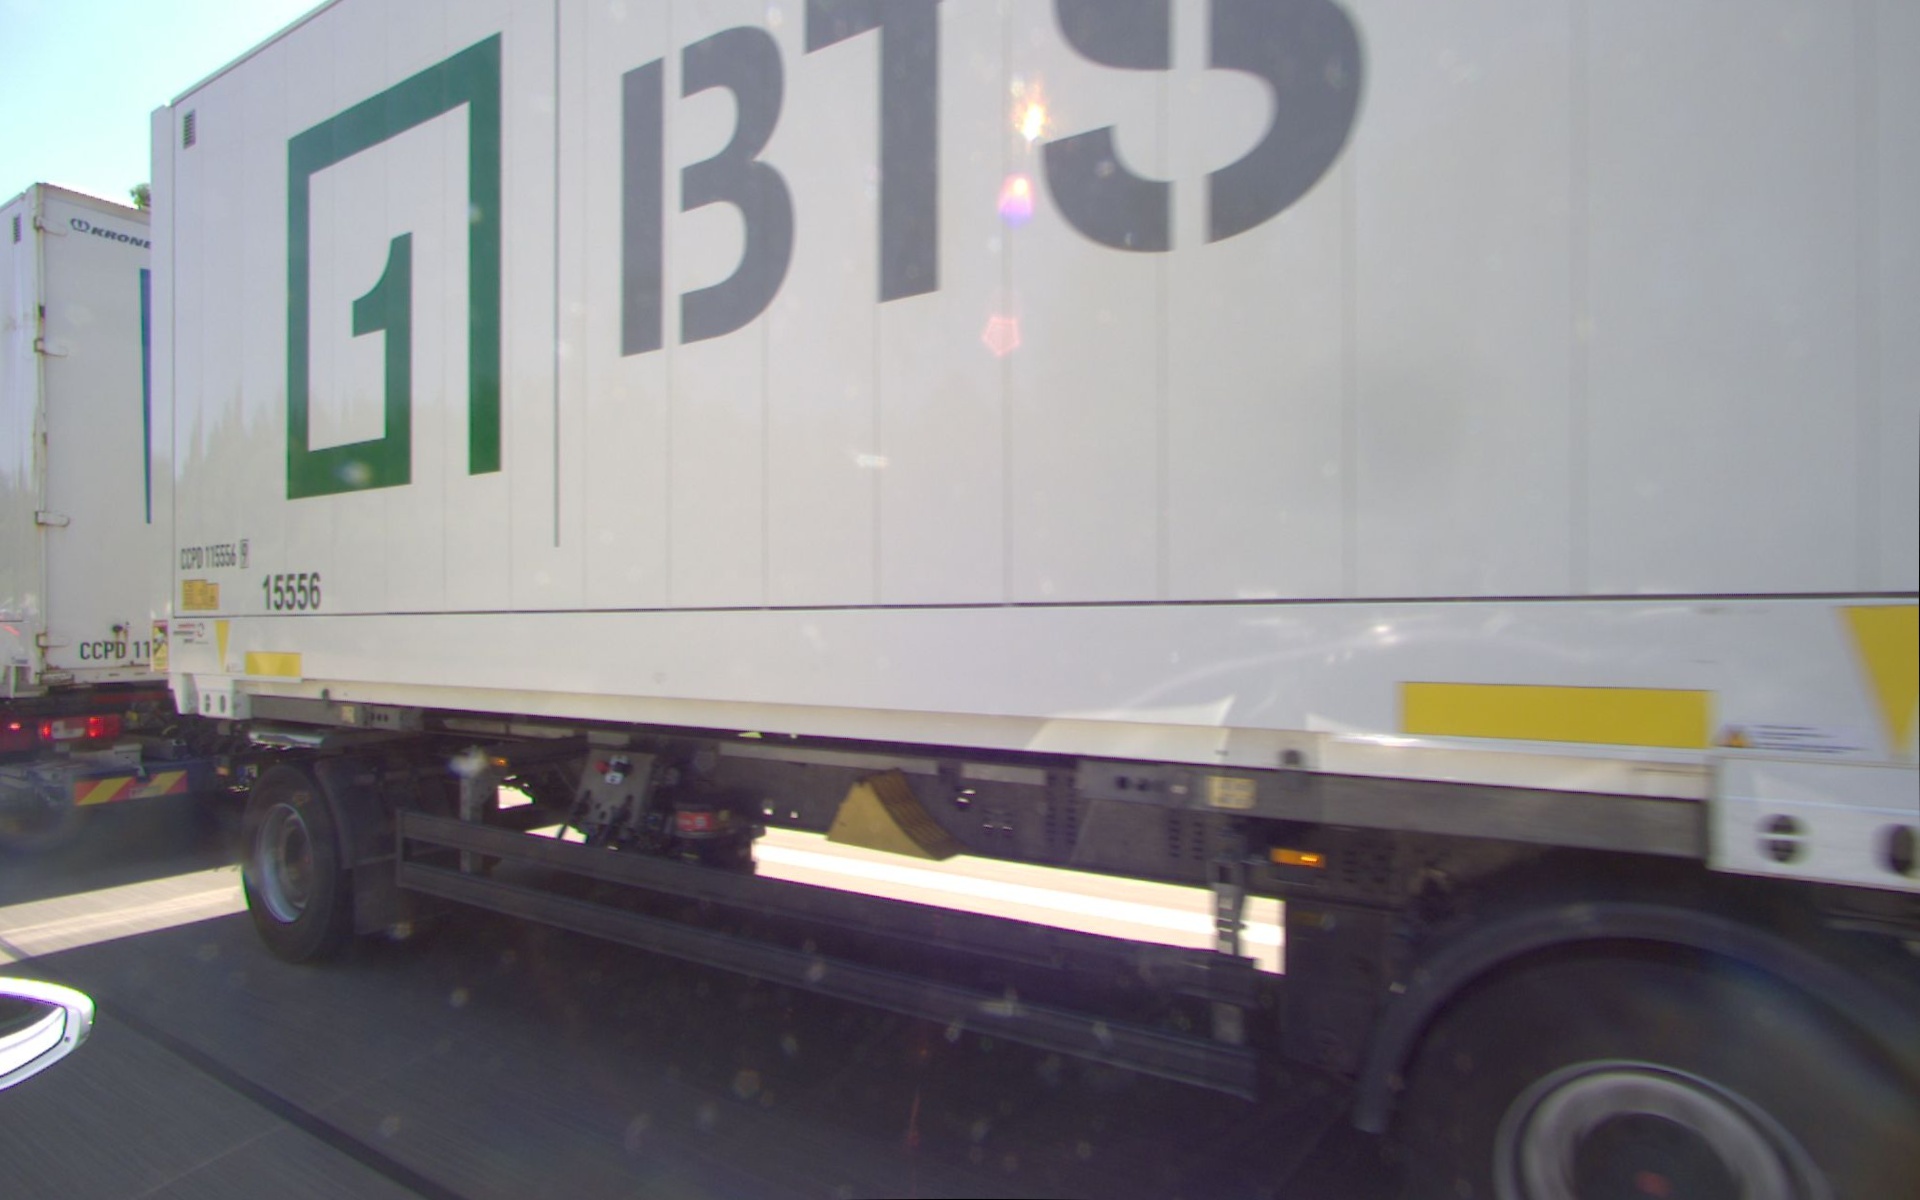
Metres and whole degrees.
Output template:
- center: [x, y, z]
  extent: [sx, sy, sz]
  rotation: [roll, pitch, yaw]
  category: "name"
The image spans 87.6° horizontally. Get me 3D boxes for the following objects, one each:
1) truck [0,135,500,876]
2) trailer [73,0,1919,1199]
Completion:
- center: [-8.764, -0.470, 9.463]
  extent: [10.471, 4.112, 2.676]
  rotation: [0, -1, 32]
  category: "truck"
- center: [0.099, -0.567, 3.952]
  extent: [9.919, 4.230, 2.675]
  rotation: [0, -1, 32]
  category: "trailer"
